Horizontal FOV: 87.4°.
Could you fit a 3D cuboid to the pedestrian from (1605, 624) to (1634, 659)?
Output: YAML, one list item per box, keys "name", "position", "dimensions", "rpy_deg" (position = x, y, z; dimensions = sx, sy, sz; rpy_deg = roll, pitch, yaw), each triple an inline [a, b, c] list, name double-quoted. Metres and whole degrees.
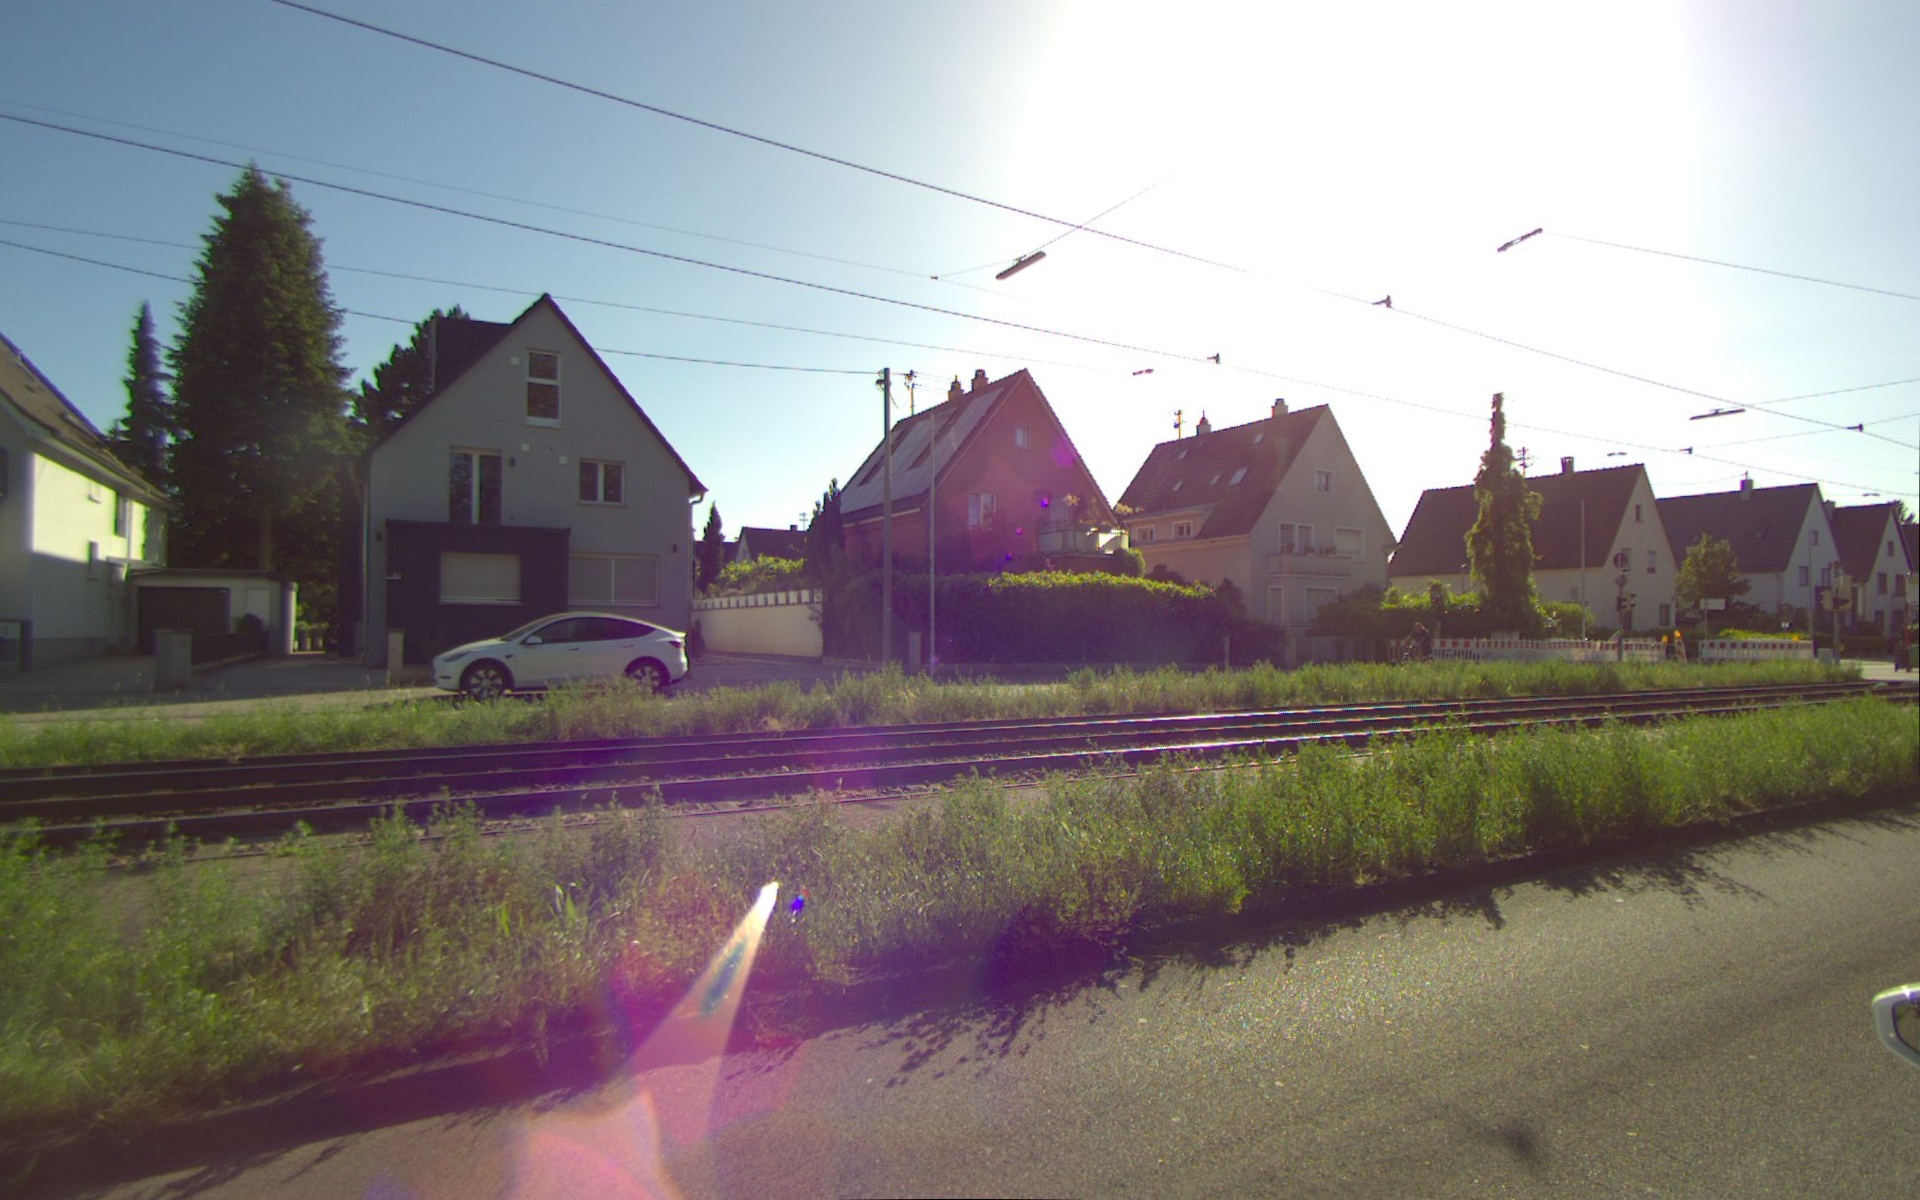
- name: "pedestrian"
  position: [29.700, 1.852, 45.229]
  dimensions: [0.804, 1.555, 0.788]
  rpy_deg: [-1, 0, -29]

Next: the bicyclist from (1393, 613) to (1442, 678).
- name: "bicyclist"
  position: [13.874, 1.361, 30.467]
  dimensions: [1.059, 1.912, 0.847]
  rpy_deg: [1, 0, -30]

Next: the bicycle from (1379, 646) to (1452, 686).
- name: "bicycle"
  position: [13.825, 1.983, 30.447]
  dimensions: [2.282, 1.149, 0.847]
  rpy_deg: [2, 0, -30]

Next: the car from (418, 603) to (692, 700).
- name: "car"
  position: [-7.941, 0.965, 19.827]
  dimensions: [4.782, 1.700, 1.984]
  rpy_deg: [2, 0, -30]
